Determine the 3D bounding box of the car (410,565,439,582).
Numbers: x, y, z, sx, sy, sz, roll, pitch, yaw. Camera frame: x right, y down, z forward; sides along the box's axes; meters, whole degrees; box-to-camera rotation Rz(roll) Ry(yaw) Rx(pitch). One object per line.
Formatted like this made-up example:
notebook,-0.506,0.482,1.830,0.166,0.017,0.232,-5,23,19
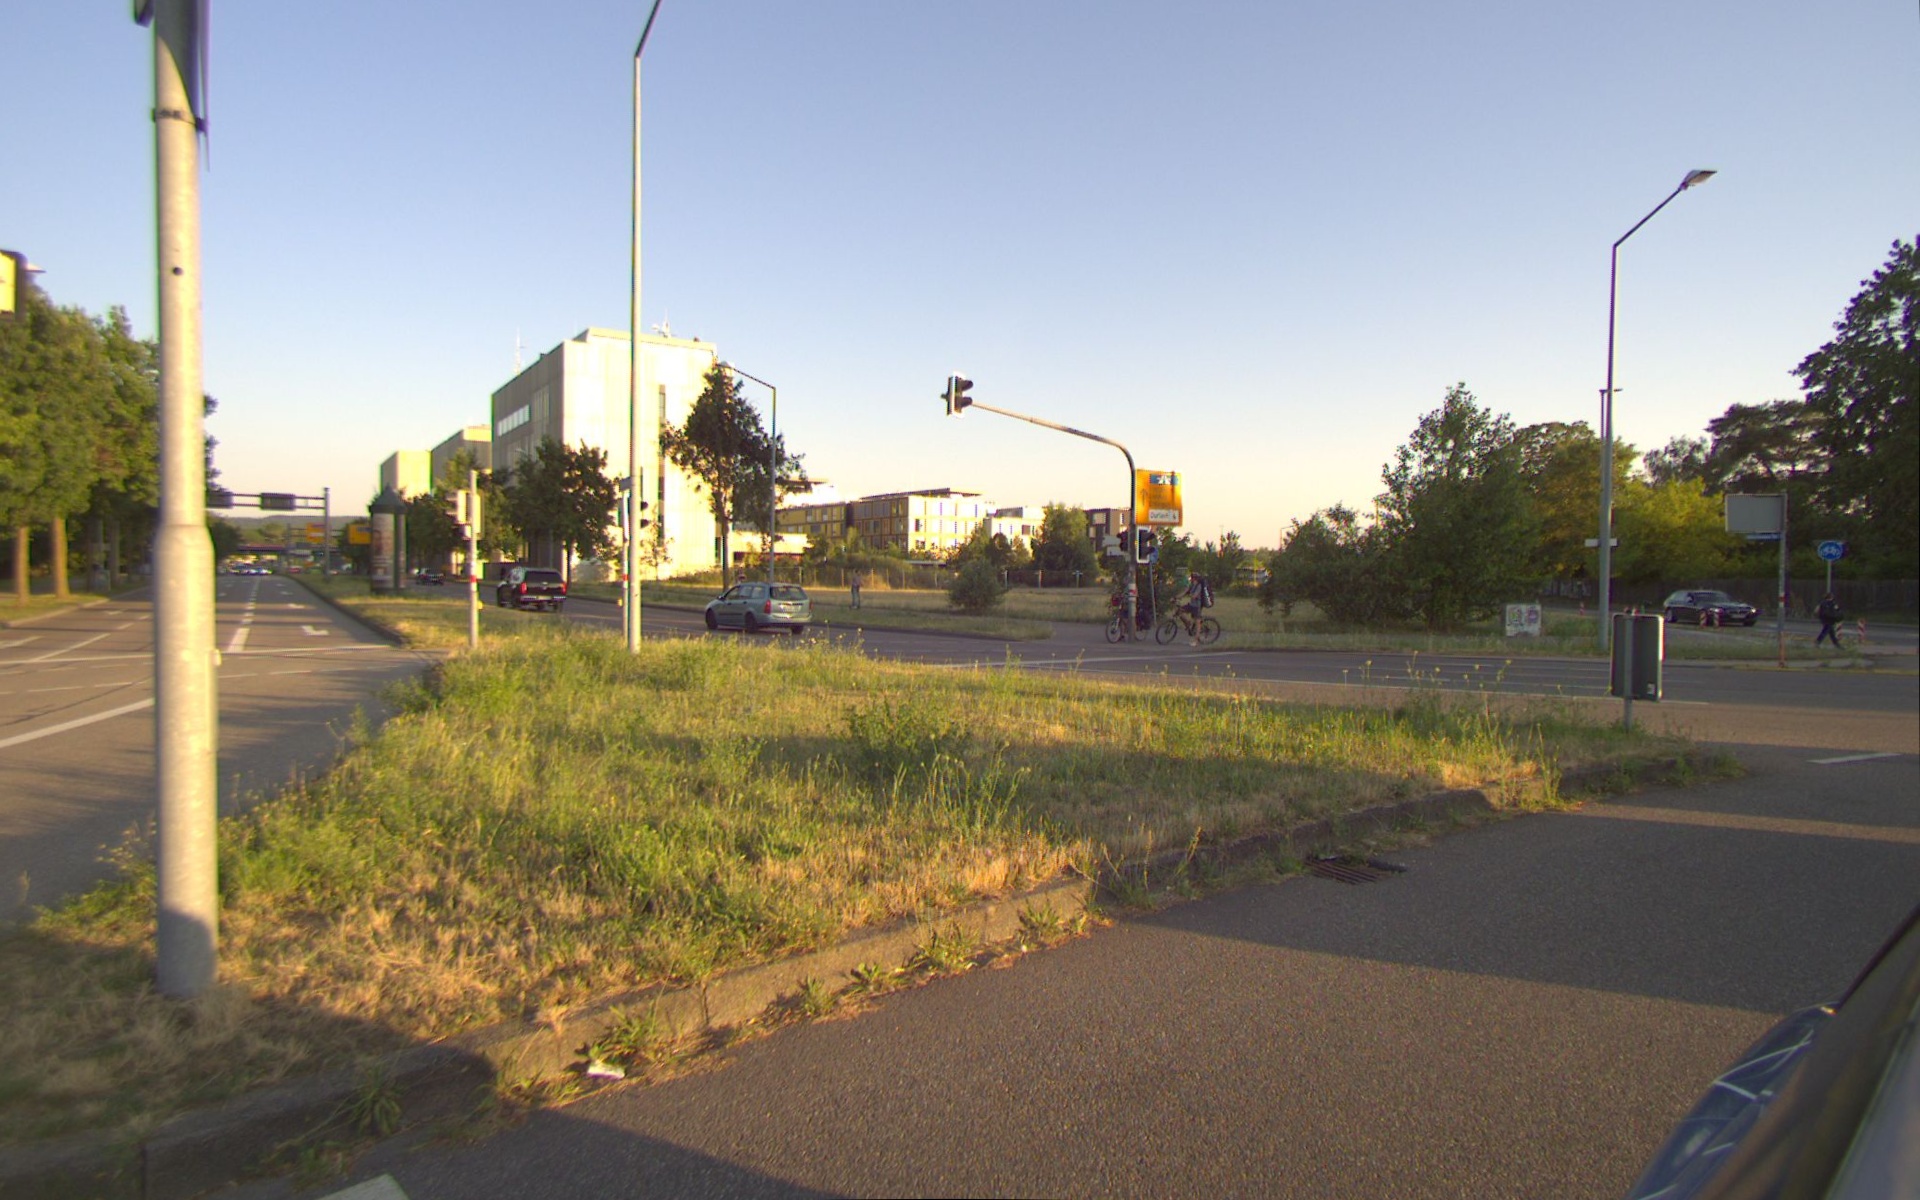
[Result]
car,-46.261,-2.298,87.389,1.718,1.396,4.125,-1,1,-36

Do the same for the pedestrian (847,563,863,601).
pedestrian,-4.689,-0.797,45.212,0.555,1.705,0.520,0,1,-33

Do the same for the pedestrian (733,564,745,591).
pedestrian,-12.768,-1.304,58.423,0.492,1.531,0.531,0,1,-33

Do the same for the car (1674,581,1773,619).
car,32.670,-0.037,43.441,1.971,1.504,3.982,1,1,15

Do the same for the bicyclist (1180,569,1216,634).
bicyclist,6.384,0.024,27.150,0.675,1.711,0.727,0,1,-12

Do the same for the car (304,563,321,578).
car,-89.686,-4.110,140.213,1.961,2.038,4.003,0,2,-32

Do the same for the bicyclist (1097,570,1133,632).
bicyclist,4.324,0.024,28.267,0.675,1.711,0.726,0,1,-28

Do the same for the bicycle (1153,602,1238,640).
bicycle,6.313,0.547,27.134,2.100,0.975,0.711,0,1,-13

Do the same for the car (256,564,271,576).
car,-118.967,-5.141,172.818,1.963,2.039,3.998,-1,1,-36

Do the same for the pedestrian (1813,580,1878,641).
pedestrian,24.019,0.257,27.468,0.977,1.610,0.923,1,1,14

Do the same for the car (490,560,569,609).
car,-17.912,-0.691,41.969,1.961,1.835,5.308,2,0,-34

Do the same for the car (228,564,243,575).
car,-121.308,-5.067,169.431,1.964,1.803,3.997,-1,1,-38

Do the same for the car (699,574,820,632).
car,-5.972,0.032,29.874,1.730,1.566,3.993,-1,2,-42

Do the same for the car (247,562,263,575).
car,-111.808,-5.021,160.472,1.962,2.039,4.000,-1,1,-35

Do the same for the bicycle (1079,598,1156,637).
bicycle,4.412,0.475,28.286,2.064,0.975,0.711,-2,2,-26
